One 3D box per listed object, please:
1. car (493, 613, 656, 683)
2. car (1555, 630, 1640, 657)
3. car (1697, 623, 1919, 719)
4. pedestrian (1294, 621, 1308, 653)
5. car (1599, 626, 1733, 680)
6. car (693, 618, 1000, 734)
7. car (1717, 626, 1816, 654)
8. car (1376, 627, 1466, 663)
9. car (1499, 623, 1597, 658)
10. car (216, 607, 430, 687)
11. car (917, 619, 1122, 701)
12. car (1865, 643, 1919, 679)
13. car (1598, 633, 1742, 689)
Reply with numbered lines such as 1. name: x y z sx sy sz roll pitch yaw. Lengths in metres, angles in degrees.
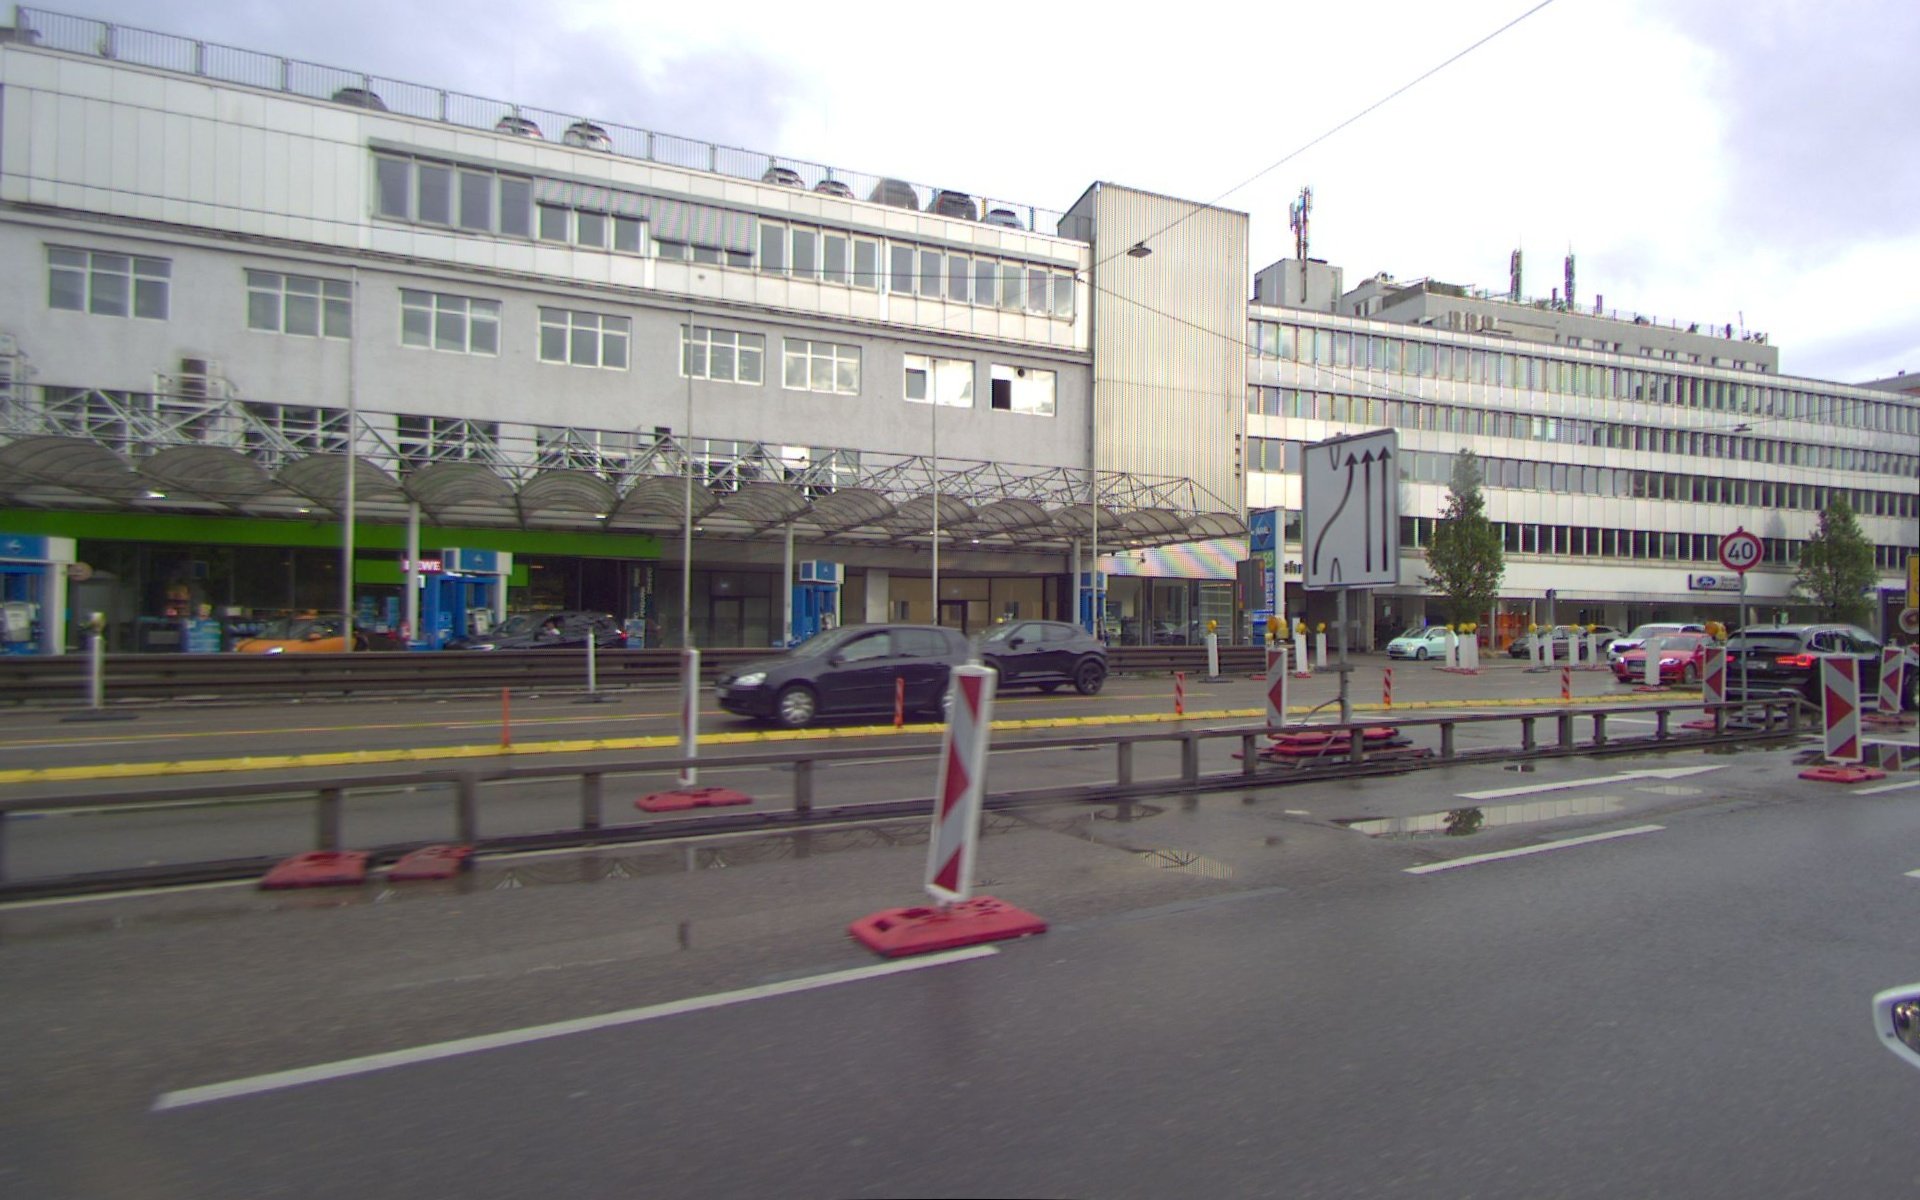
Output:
1. car: -10.167 1.290 26.906 1.973 1.701 4.484 -1 -3 11
2. car: 39.776 2.698 62.769 4.304 1.673 1.852 -1 -3 27
3. car: 16.949 1.312 19.792 4.606 1.619 1.941 0 1 -25
4. pedestrian: 18.995 2.060 55.976 0.656 1.743 0.706 -1 -2 27
5. car: 24.038 1.772 34.163 4.775 1.730 1.970 2 -2 -31
6. car: -1.692 1.065 15.296 4.249 1.541 1.950 1 -2 -30
7. car: 55.416 2.757 69.106 4.890 1.922 2.000 -1 -2 20
8. car: 20.621 2.005 44.917 3.703 1.555 1.648 1 -3 -24
9. car: 30.989 2.151 52.935 4.656 1.802 1.847 1 -2 -19
10. car: -15.617 1.173 24.957 1.927 1.793 4.450 -1 -3 11
11. car: 1.261 1.216 20.947 4.030 1.556 1.702 1 -2 -30
12. car: 43.217 2.775 45.605 3.945 1.533 1.747 2 -3 -24
13. car: 19.982 1.672 28.227 4.239 1.422 1.727 2 -1 -31
